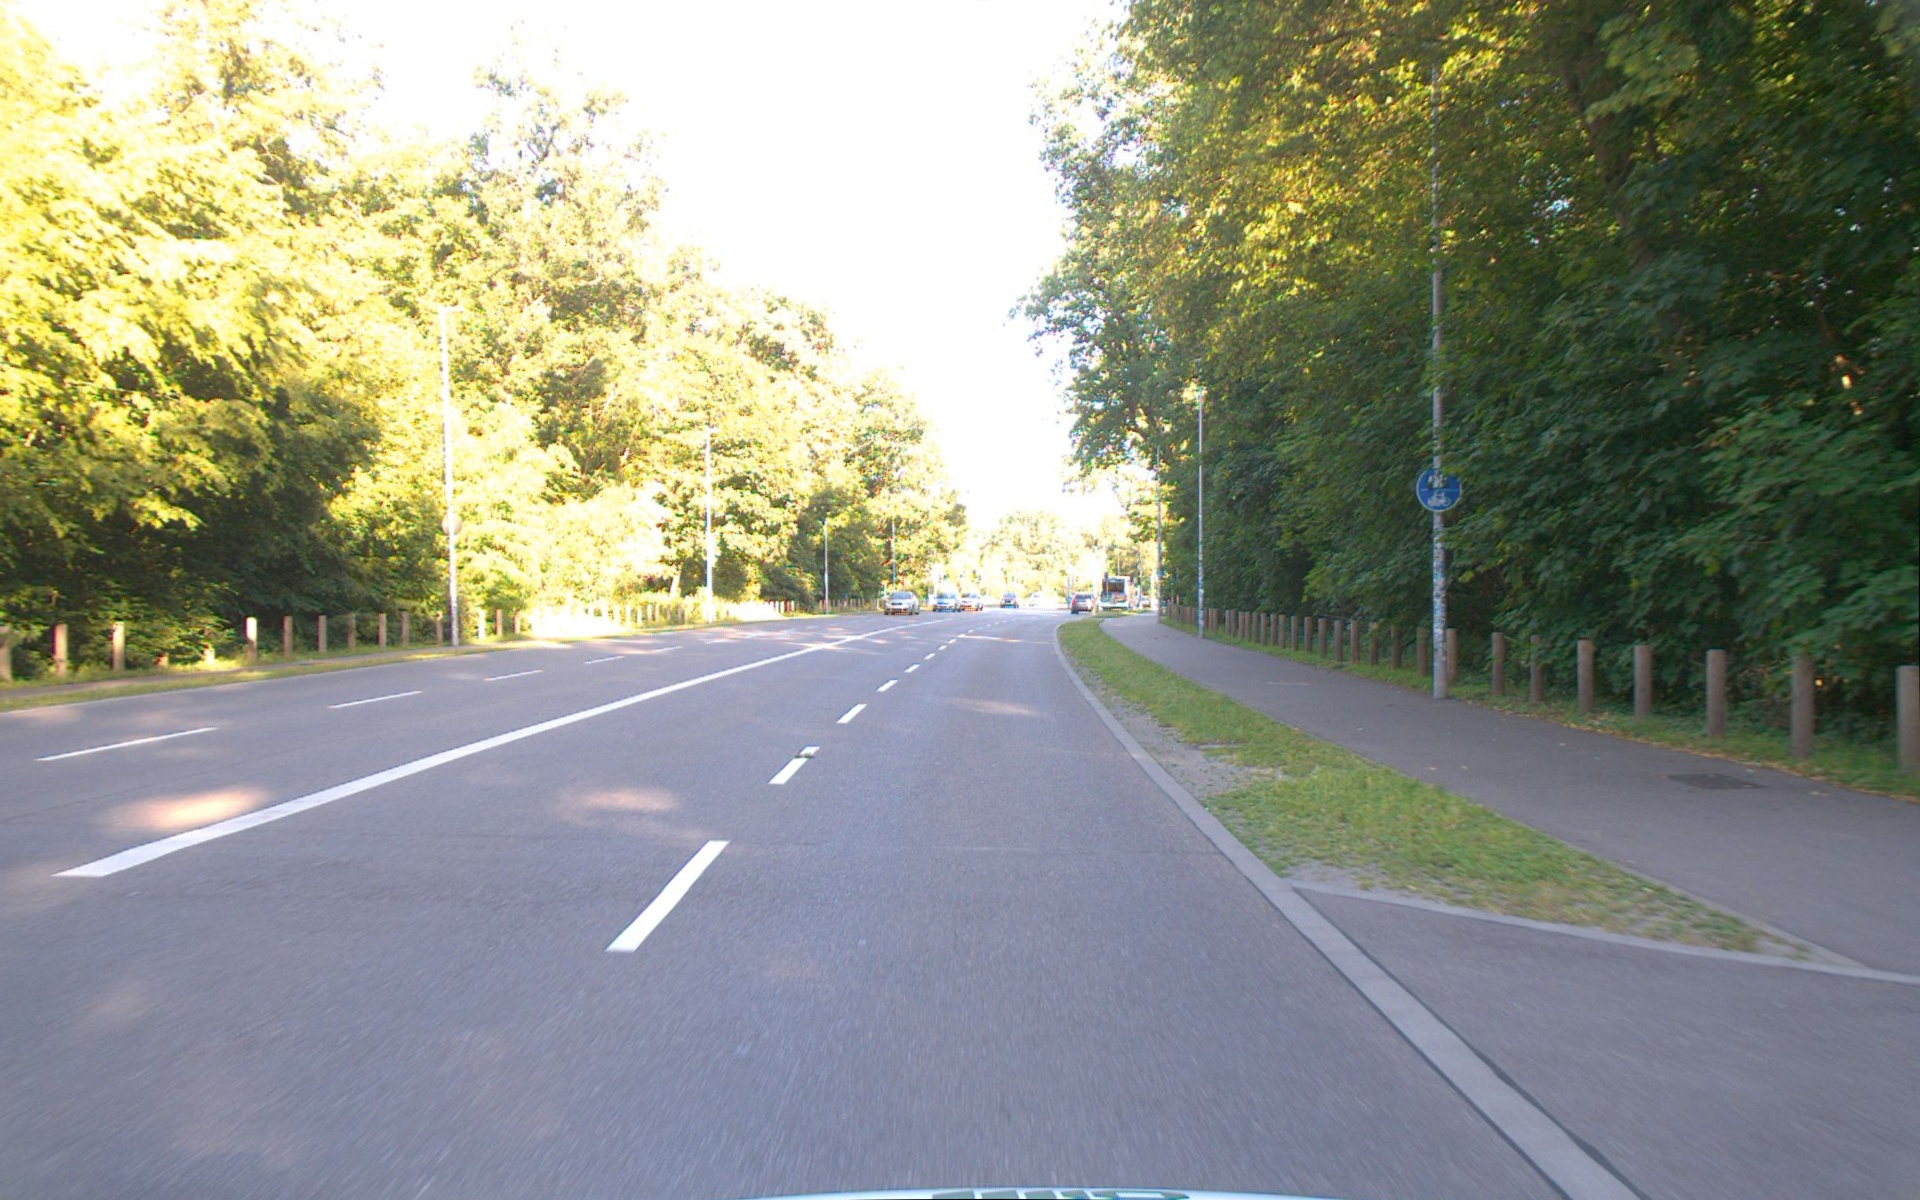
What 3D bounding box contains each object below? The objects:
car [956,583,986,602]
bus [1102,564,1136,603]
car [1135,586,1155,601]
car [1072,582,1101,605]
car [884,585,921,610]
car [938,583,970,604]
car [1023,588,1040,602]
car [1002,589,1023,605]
[{"bbox_3d":[0.926,-0.626,134.449,1.744,1.549,4.402,0,1,9],"label":"car"},{"bbox_3d":[14.585,-1.546,151.705,2.549,3.427,7.983,0,1,9],"label":"bus"},{"bbox_3d":[21.432,-0.752,191.855,1.823,1.713,3.776,-1,0,14],"label":"car"},{"bbox_3d":[9.921,-0.529,129.369,1.840,1.796,4.004,-1,1,10],"label":"car"},{"bbox_3d":[-3.481,-0.163,100.685,1.742,1.432,4.169,0,1,5],"label":"car"},{"bbox_3d":[-0.433,-0.510,122.857,1.742,1.489,4.278,1,0,8],"label":"car"},{"bbox_3d":[8.301,-0.603,191.833,1.620,1.534,4.003,-1,0,8],"label":"car"},{"bbox_3d":[5.374,-0.337,168.353,1.627,1.544,3.810,-1,0,10],"label":"car"}]
